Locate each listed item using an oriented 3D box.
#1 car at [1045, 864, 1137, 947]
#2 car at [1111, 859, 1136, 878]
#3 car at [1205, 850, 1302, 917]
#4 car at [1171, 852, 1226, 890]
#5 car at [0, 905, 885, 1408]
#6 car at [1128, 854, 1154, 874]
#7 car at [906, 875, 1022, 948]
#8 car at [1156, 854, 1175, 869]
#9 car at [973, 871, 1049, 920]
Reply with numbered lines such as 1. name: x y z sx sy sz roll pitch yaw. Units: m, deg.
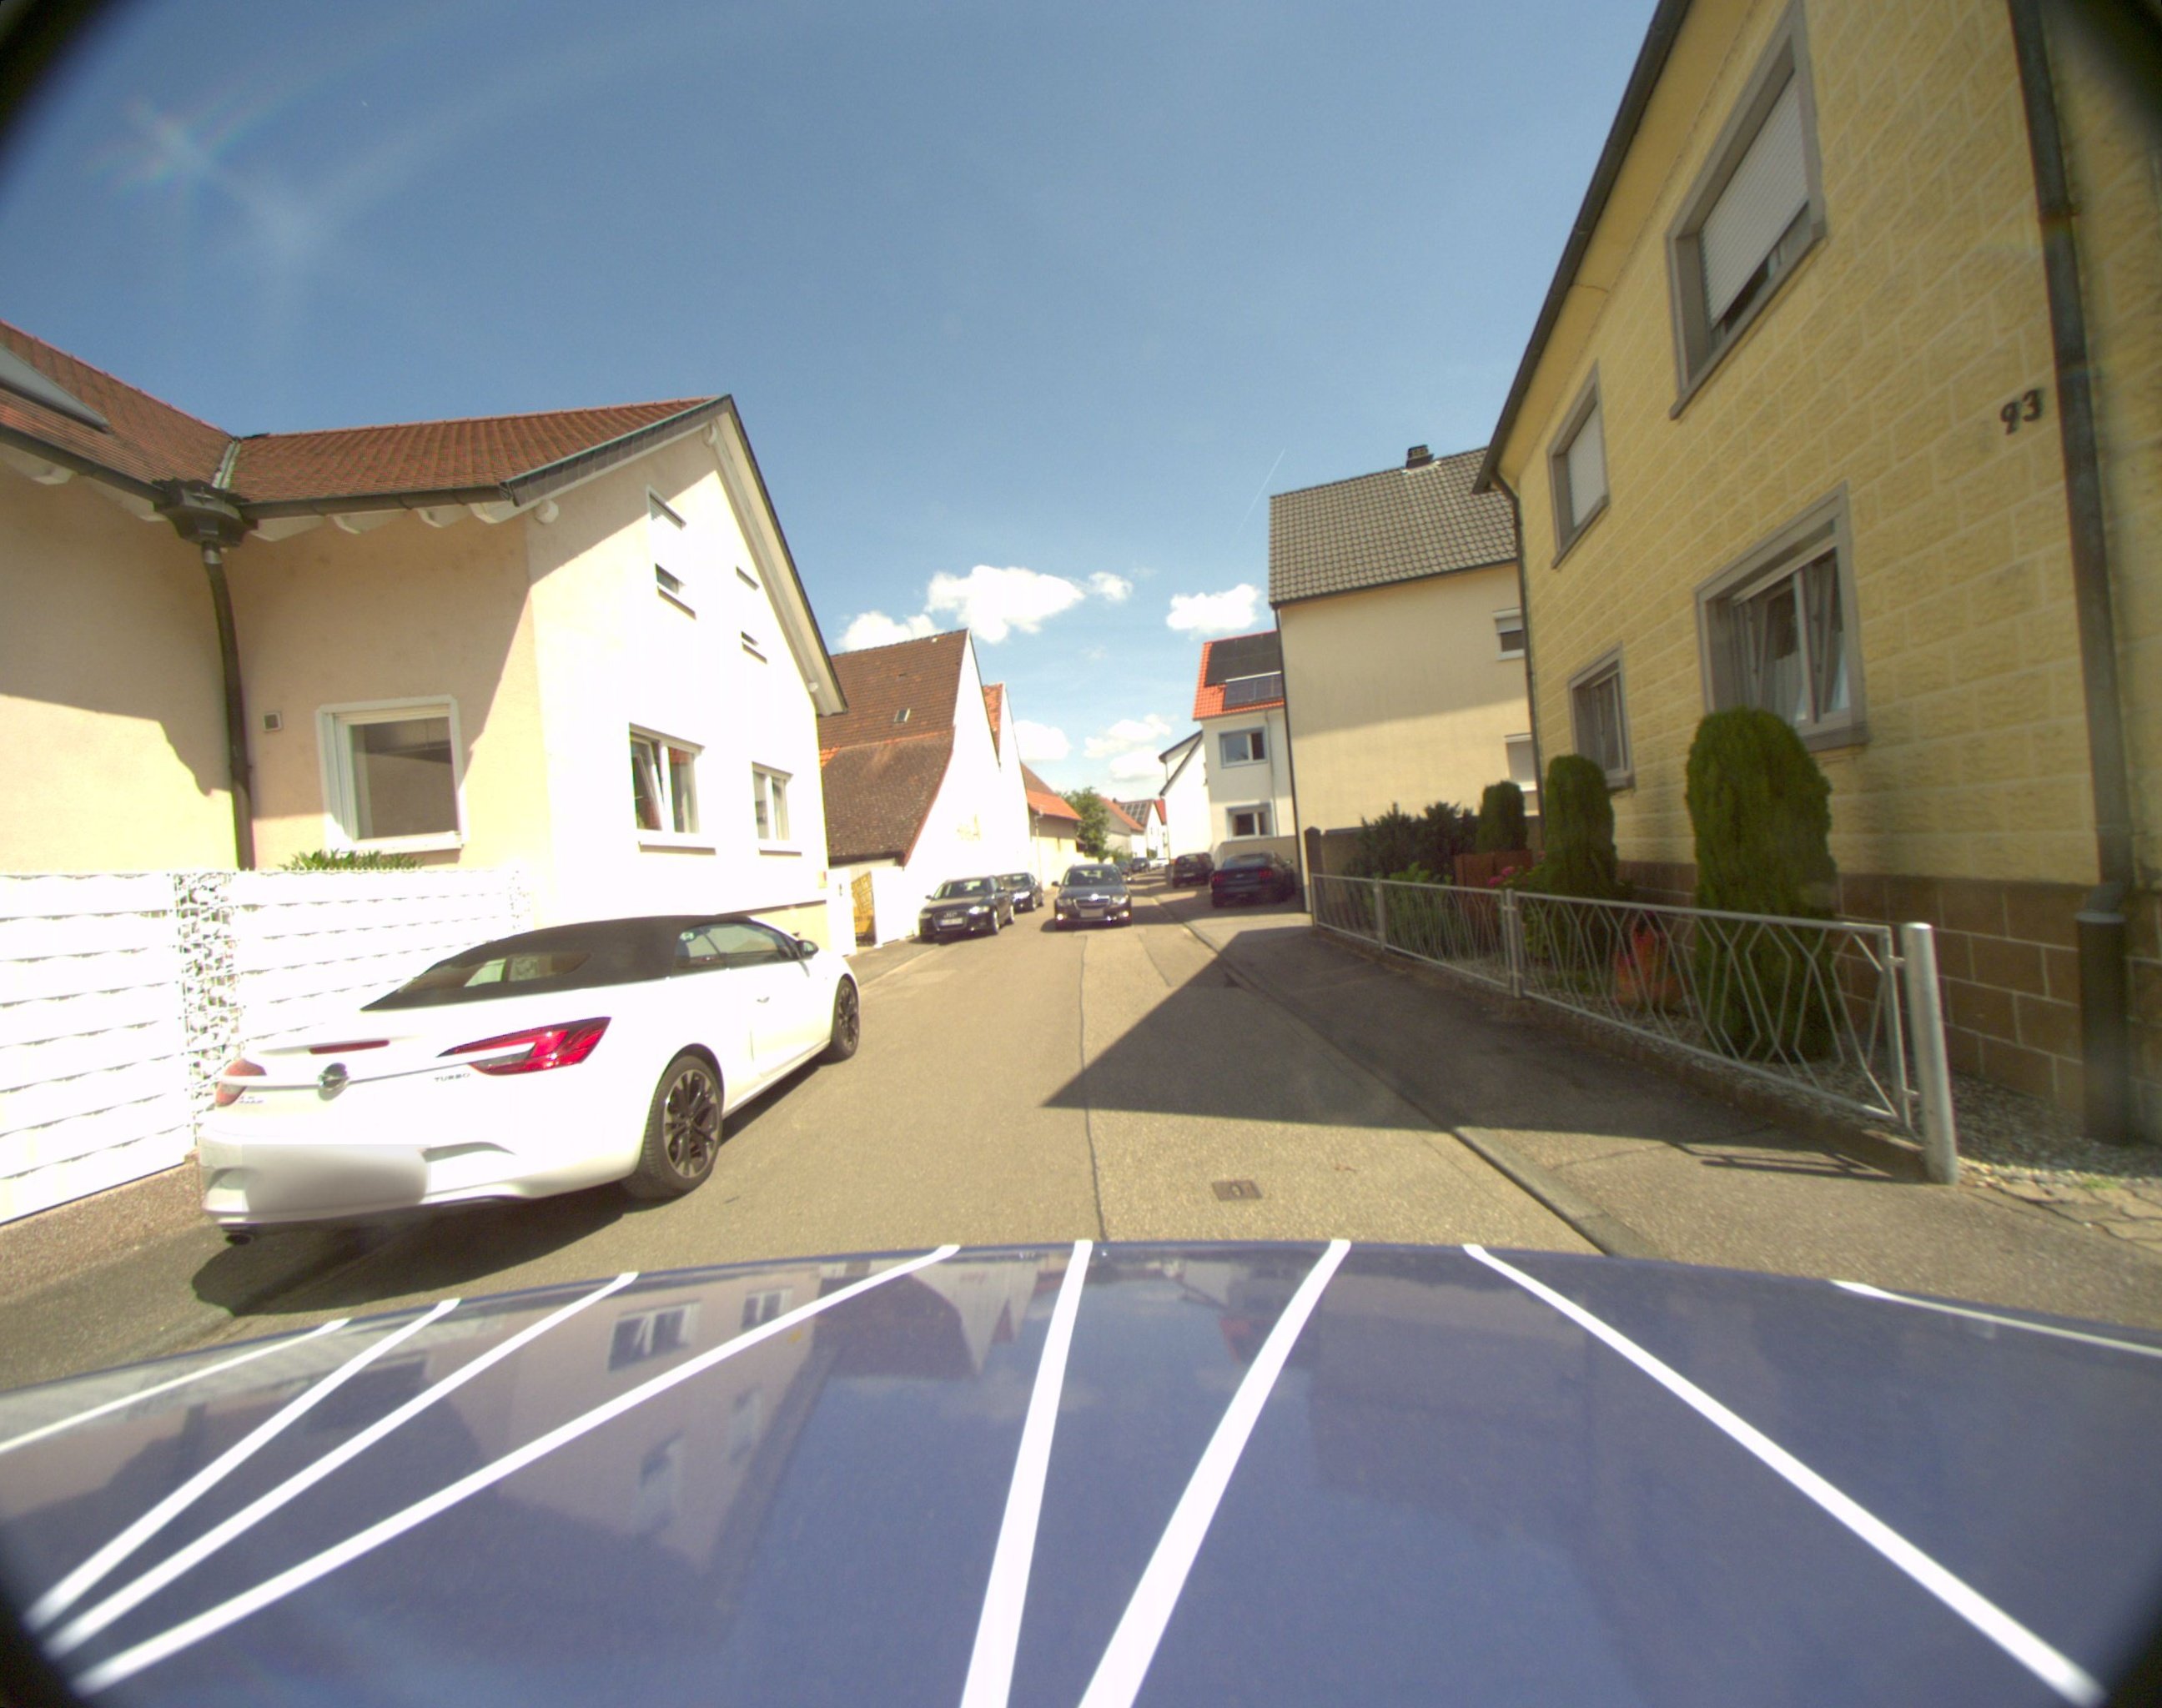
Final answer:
1. car: 0.245 1.069 17.691 1.785 1.526 4.710 -3 0 1
2. car: 3.659 1.221 65.052 1.784 1.470 4.002 -5 0 6
3. car: 4.831 0.724 20.778 1.772 1.341 4.475 -7 0 22
4. car: 5.389 0.729 34.591 1.640 1.446 3.792 -7 -1 20
5. car: -3.033 1.293 5.190 1.900 1.420 4.738 -5 0 2
6. car: 5.841 0.956 73.898 1.783 1.599 4.003 -8 -1 13
7. car: -2.806 1.355 19.357 1.900 1.357 4.738 -5 0 3
8. car: 10.464 0.885 93.851 1.783 1.491 4.042 -8 -1 13
9. car: -2.397 1.408 27.338 1.900 1.357 4.415 -5 0 4
